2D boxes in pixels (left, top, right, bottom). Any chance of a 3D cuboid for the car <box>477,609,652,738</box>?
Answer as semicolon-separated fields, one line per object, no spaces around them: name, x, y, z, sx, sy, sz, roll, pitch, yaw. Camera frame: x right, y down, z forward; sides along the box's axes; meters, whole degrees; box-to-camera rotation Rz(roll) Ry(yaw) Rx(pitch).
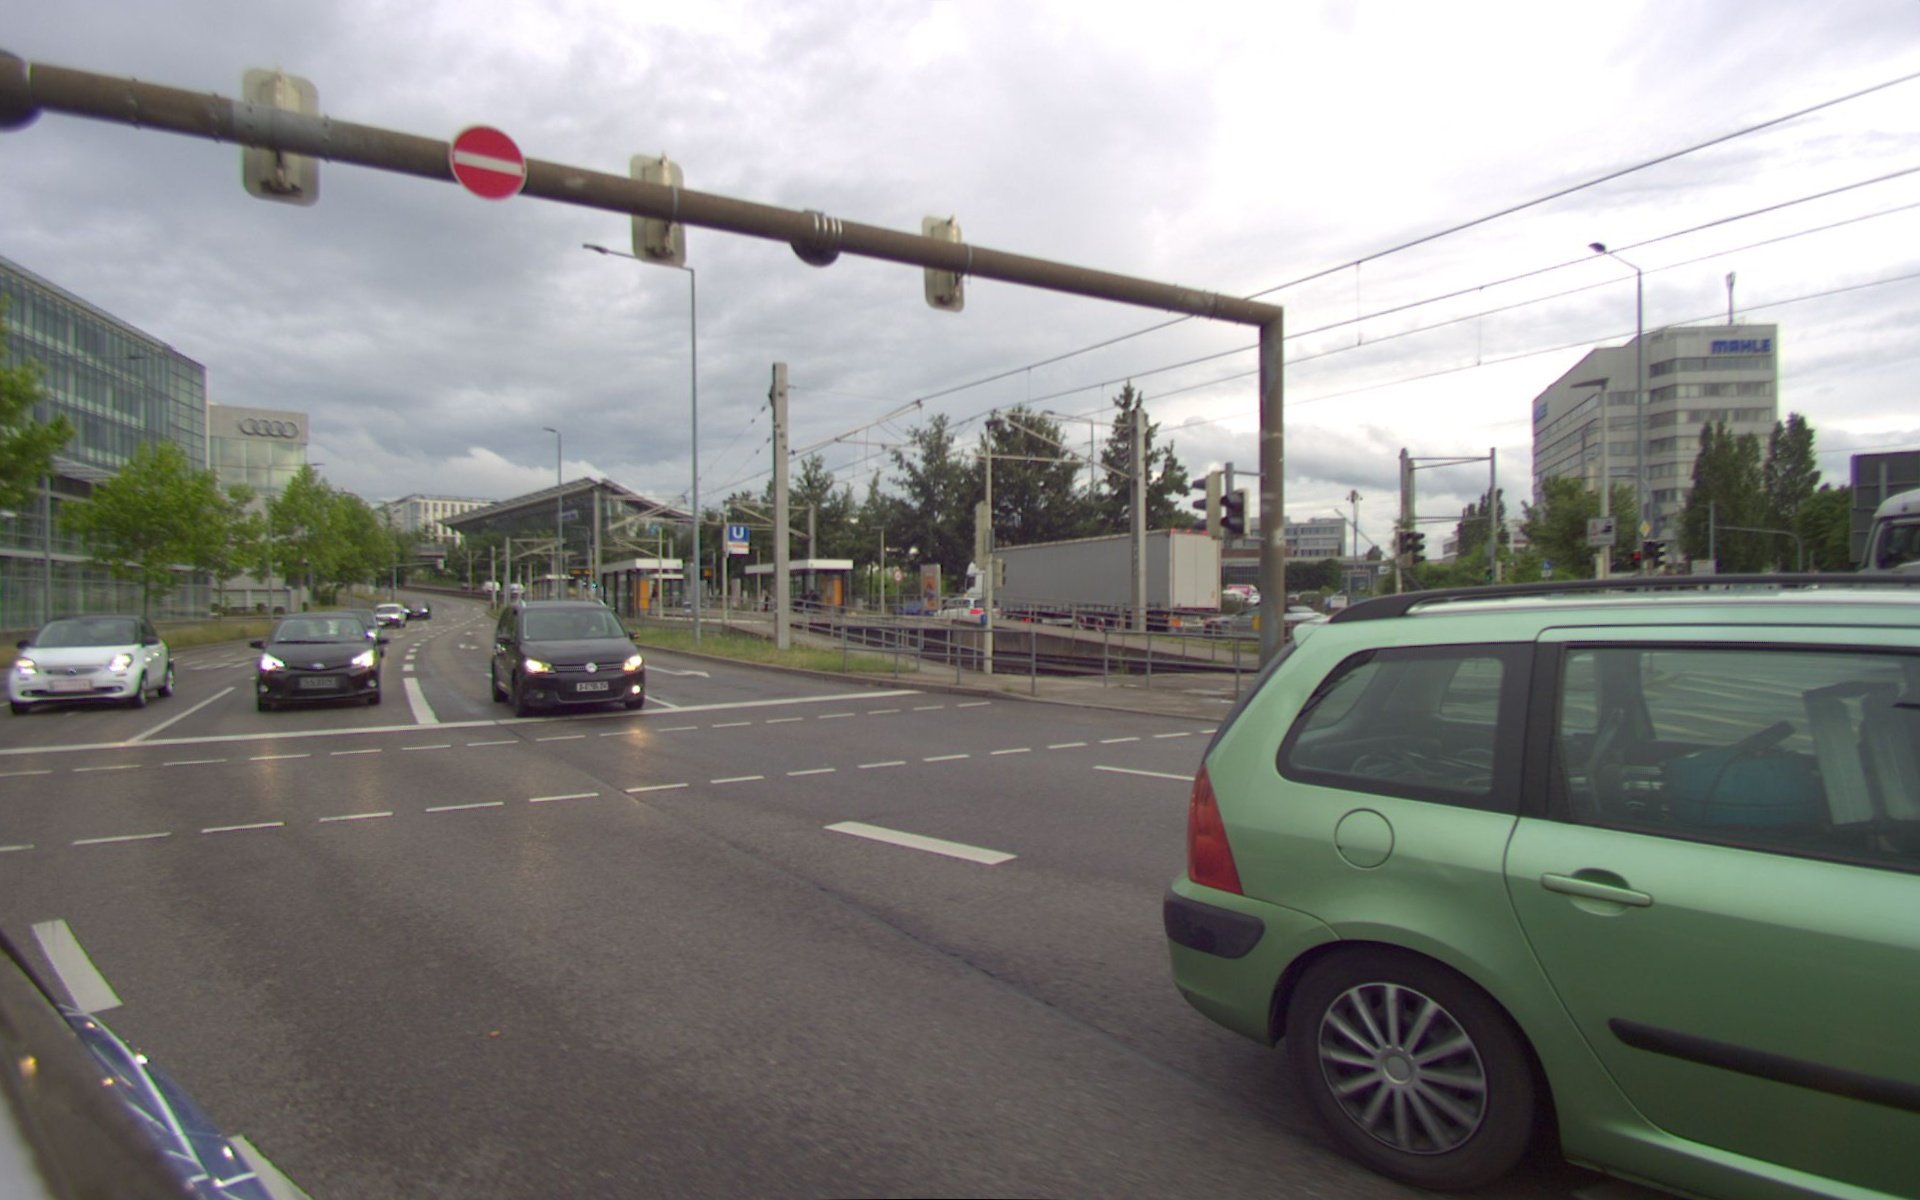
car;-6.147;0.977;15.428;1.703;1.604;4.205;-3;1;-31

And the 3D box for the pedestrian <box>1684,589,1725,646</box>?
pedestrian;22.179;0.507;30.144;0.716;1.675;0.741;-2;1;-32

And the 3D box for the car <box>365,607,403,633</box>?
car;-42.314;1.455;74.441;1.799;1.723;4.167;-3;2;-22

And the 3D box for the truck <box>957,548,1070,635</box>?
truck;2.522;-0.359;50.085;2.792;4.026;6.005;-1;-1;-29

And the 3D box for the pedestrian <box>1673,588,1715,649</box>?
pedestrian;21.278;0.526;29.339;0.716;1.718;0.741;-2;1;-32

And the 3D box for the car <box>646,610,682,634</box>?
car;-22.952;1.654;78.391;1.507;1.679;4.282;-3;2;-32

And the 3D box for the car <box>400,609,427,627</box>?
car;-50.578;1.657;93.752;1.673;1.534;3.838;-1;1;-20

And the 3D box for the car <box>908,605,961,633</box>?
car;-1.661;1.180;64.798;1.550;1.639;4.095;-3;2;-30

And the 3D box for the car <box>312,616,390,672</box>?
car;-18.753;1.311;31.298;1.711;1.489;4.013;-3;1;-27

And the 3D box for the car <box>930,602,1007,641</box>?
car;0.364;0.971;47.822;1.861;1.664;4.109;-3;2;-28

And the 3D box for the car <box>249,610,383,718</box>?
car;-10.613;0.971;16.893;1.669;1.534;3.916;-1;0;-30

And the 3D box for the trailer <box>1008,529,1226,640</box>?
trailer;6.245;-0.480;43.332;2.755;4.138;11.478;0;-1;-29

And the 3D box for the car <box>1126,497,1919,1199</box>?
car;2.699;0.507;2.130;4.402;1.479;1.677;-1;2;42

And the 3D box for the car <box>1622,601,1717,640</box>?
car;28.963;0.822;41.306;3.259;1.446;1.459;-1;1;-17

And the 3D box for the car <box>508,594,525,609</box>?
car;-74.600;0.233;170.207;1.966;2.230;5.160;-3;2;-29

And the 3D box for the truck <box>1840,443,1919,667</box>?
truck;20.051;-0.850;18.019;2.631;4.161;6.200;0;0;-36

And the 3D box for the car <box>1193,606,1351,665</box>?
car;9.525;1.014;31.287;1.877;1.566;4.580;-3;2;-30

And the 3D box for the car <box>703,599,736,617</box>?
car;-21.164;0.682;89.104;1.762;1.514;4.013;-3;2;-29

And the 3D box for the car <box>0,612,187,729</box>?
car;-14.709;1.077;17.234;1.775;1.736;4.013;0;-1;-28
